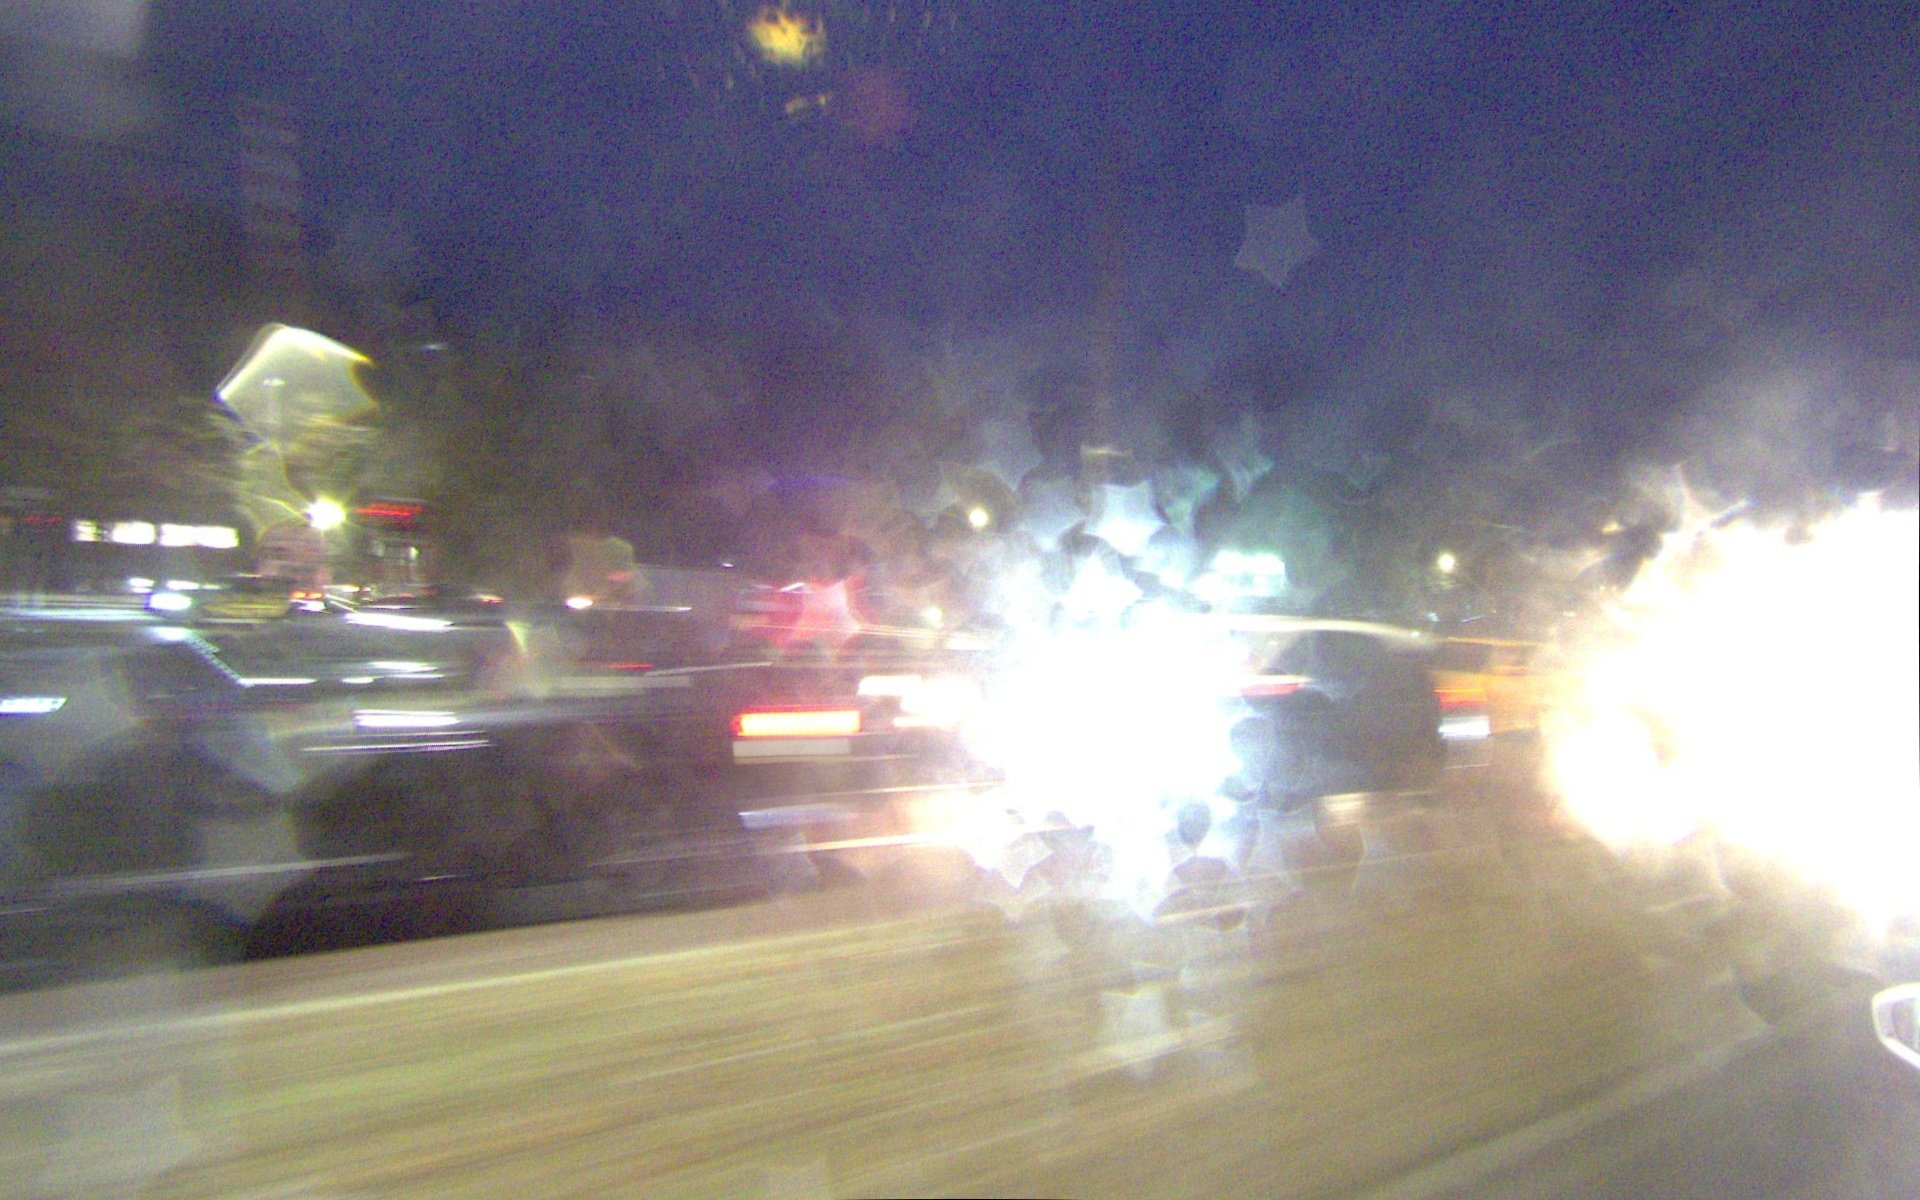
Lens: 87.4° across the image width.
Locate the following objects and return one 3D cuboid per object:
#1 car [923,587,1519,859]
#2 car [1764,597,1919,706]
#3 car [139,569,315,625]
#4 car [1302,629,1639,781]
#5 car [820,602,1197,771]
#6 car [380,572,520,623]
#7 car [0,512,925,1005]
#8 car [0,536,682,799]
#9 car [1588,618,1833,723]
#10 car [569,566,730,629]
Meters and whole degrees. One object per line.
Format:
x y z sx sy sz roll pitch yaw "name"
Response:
2.126 0.793 7.870 4.415 1.591 1.947 2 0 -30 "car"
19.476 1.039 21.188 4.933 2.040 2.145 2 0 -28 "car"
-22.801 -0.085 31.387 1.965 1.613 3.991 2 0 31 "car"
7.192 1.348 14.103 4.441 1.770 1.986 2 0 -27 "car"
0.524 0.838 10.660 3.558 1.472 1.815 2 0 -29 "car"
-18.519 -0.059 36.553 4.399 1.715 1.835 2 0 -32 "car"
-2.837 0.582 4.942 4.954 1.720 1.984 2 0 -30 "car"
-5.014 0.425 7.777 5.098 1.577 2.348 2 0 -30 "car"
12.849 1.148 17.204 3.640 1.549 1.958 2 0 -27 "car"
-12.464 -0.070 40.454 5.946 2.338 1.985 2 0 -28 "car"
